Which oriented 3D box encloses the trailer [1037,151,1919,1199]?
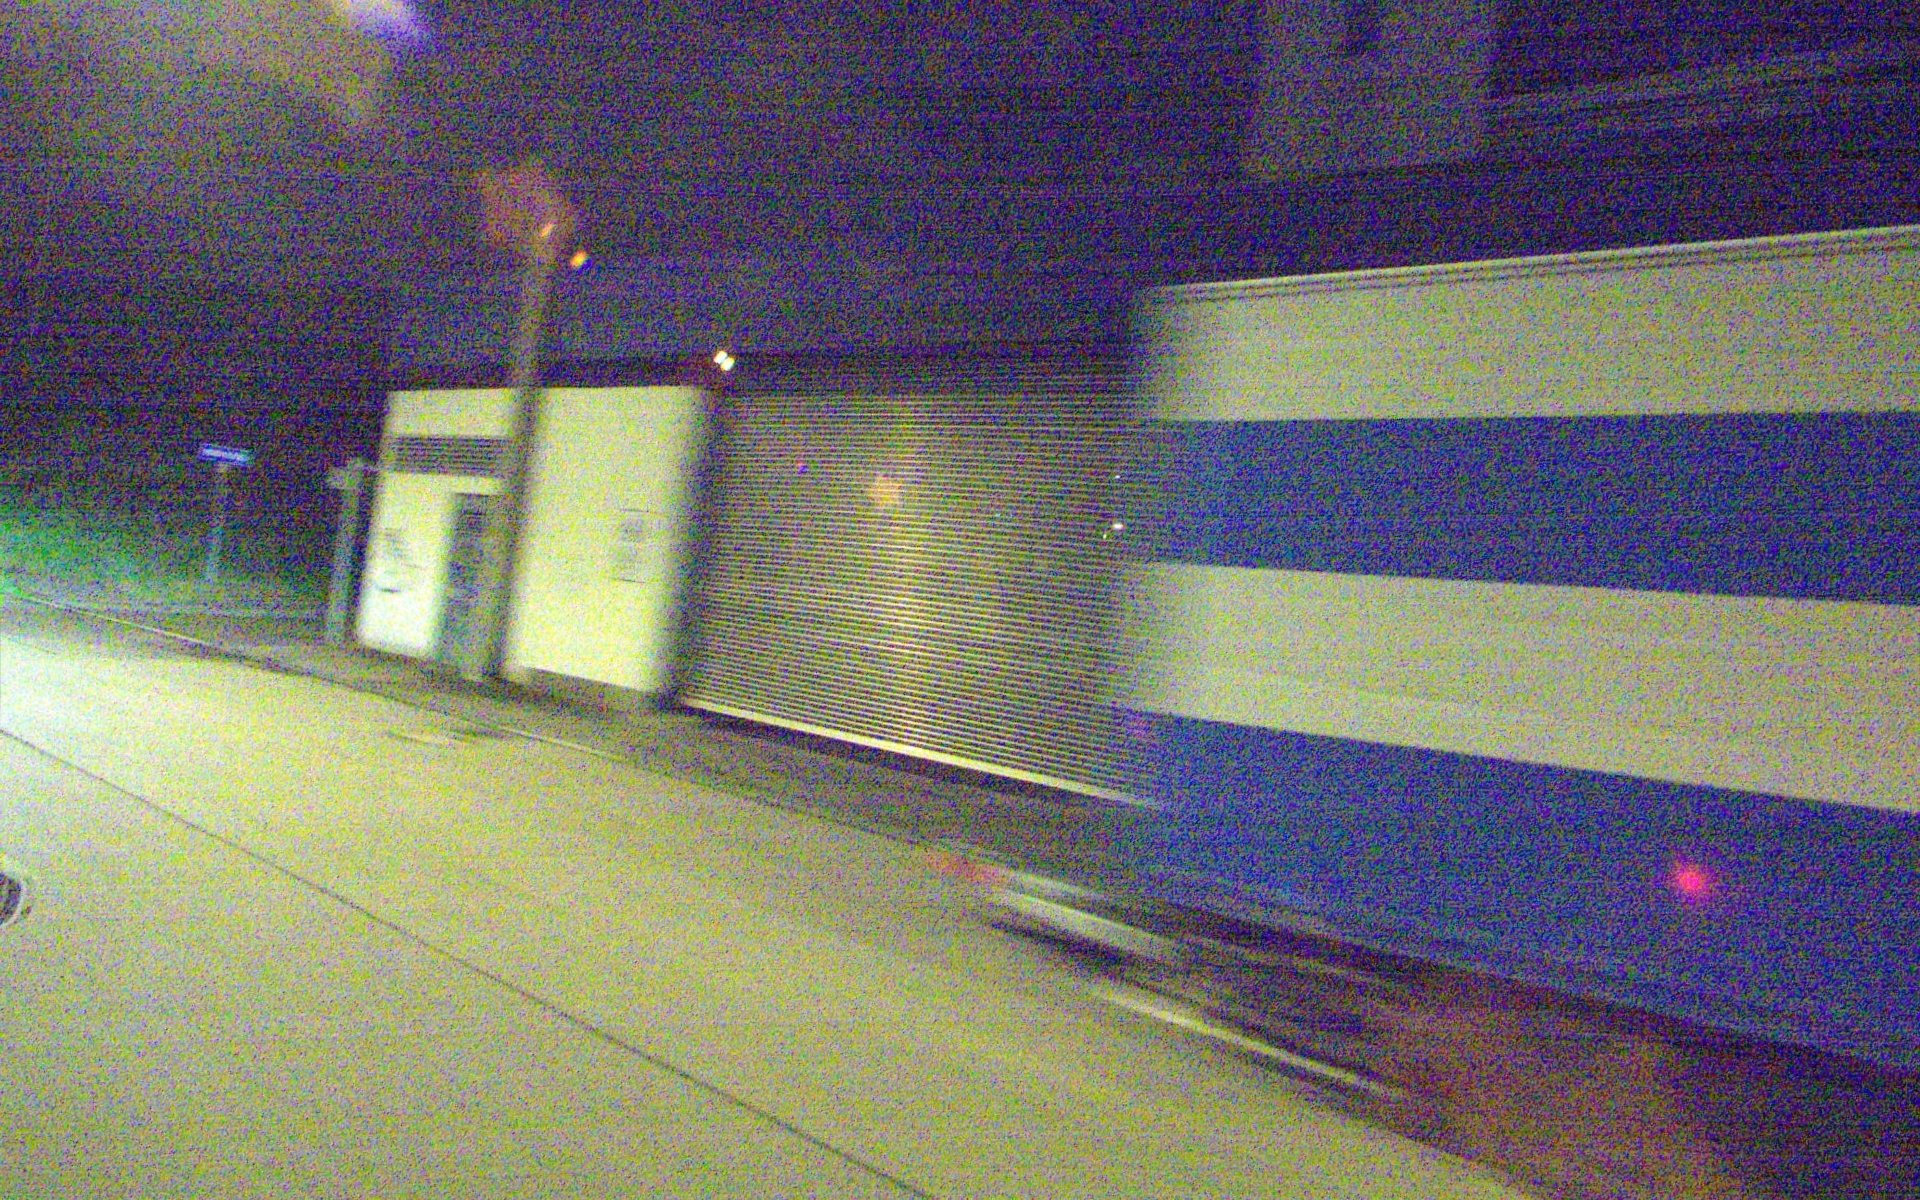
[{"bbox_3d":[2.966,0.405,4.225,4.287,3.363,2.405,7,-2,29],"label":"trailer"}]
